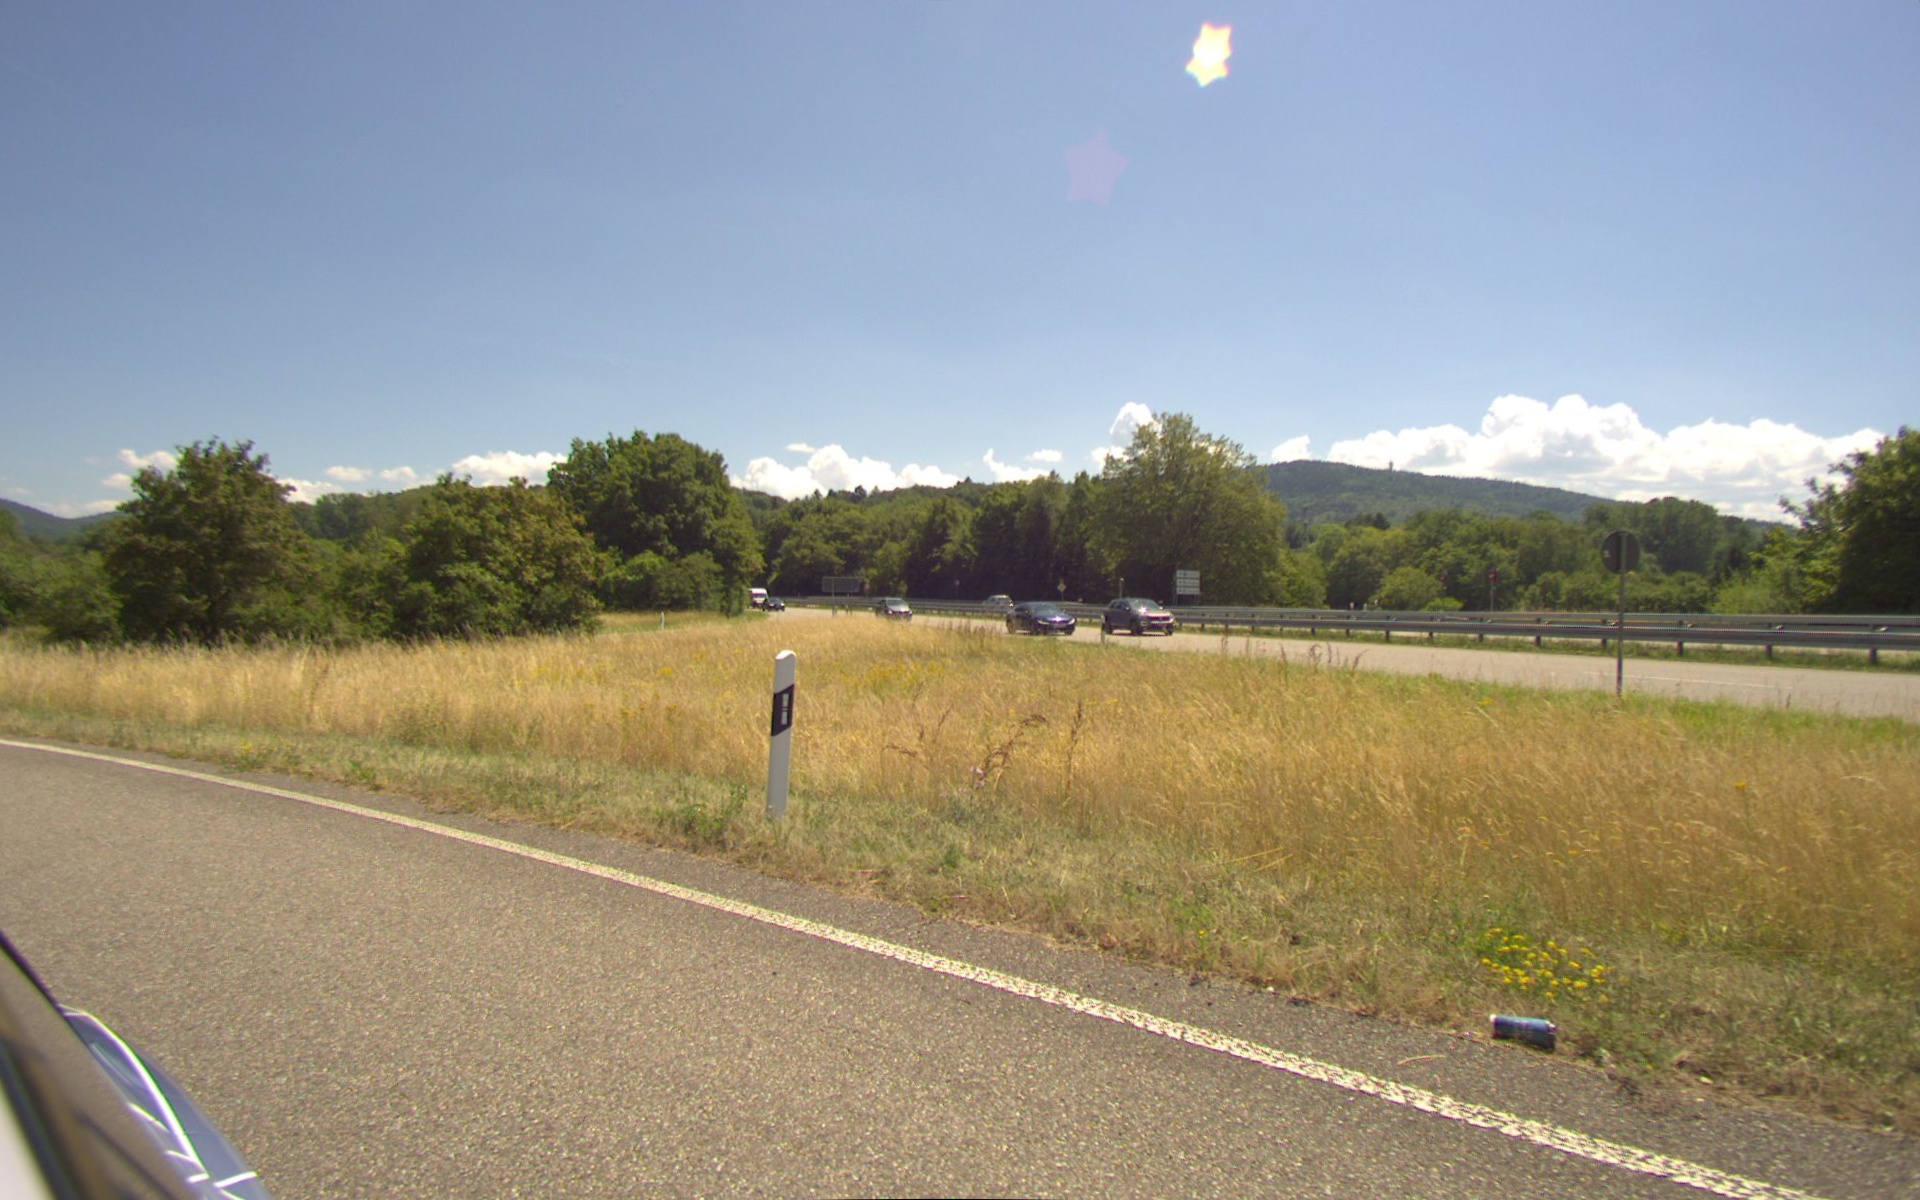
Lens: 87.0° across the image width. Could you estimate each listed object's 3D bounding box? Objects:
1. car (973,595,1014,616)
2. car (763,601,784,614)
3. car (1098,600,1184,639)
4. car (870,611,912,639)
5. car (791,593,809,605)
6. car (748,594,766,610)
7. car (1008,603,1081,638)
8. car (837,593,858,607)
[{"bbox_3d":[2.870,0.487,88.335,1.903,1.764,4.928,-1,1,-20],"label":"car"},{"bbox_3d":[-20.548,0.841,111.412,1.816,1.418,4.483,-1,0,-16],"label":"car"},{"bbox_3d":[7.647,0.821,43.260,1.816,1.541,4.482,-2,-1,-16],"label":"car"},{"bbox_3d":[-4.788,1.688,69.653,1.768,1.680,4.569,0,1,-19],"label":"car"},{"bbox_3d":[-26.329,-0.140,166.546,1.965,1.907,4.928,-1,1,-19],"label":"car"},{"bbox_3d":[-26.036,0.240,129.568,1.976,2.014,4.592,-1,0,-15],"label":"car"},{"bbox_3d":[3.661,0.891,44.807,1.816,1.418,4.481,-2,-1,-14],"label":"car"},{"bbox_3d":[-16.175,0.004,145.170,1.965,1.907,4.928,-1,1,-19],"label":"car"}]
